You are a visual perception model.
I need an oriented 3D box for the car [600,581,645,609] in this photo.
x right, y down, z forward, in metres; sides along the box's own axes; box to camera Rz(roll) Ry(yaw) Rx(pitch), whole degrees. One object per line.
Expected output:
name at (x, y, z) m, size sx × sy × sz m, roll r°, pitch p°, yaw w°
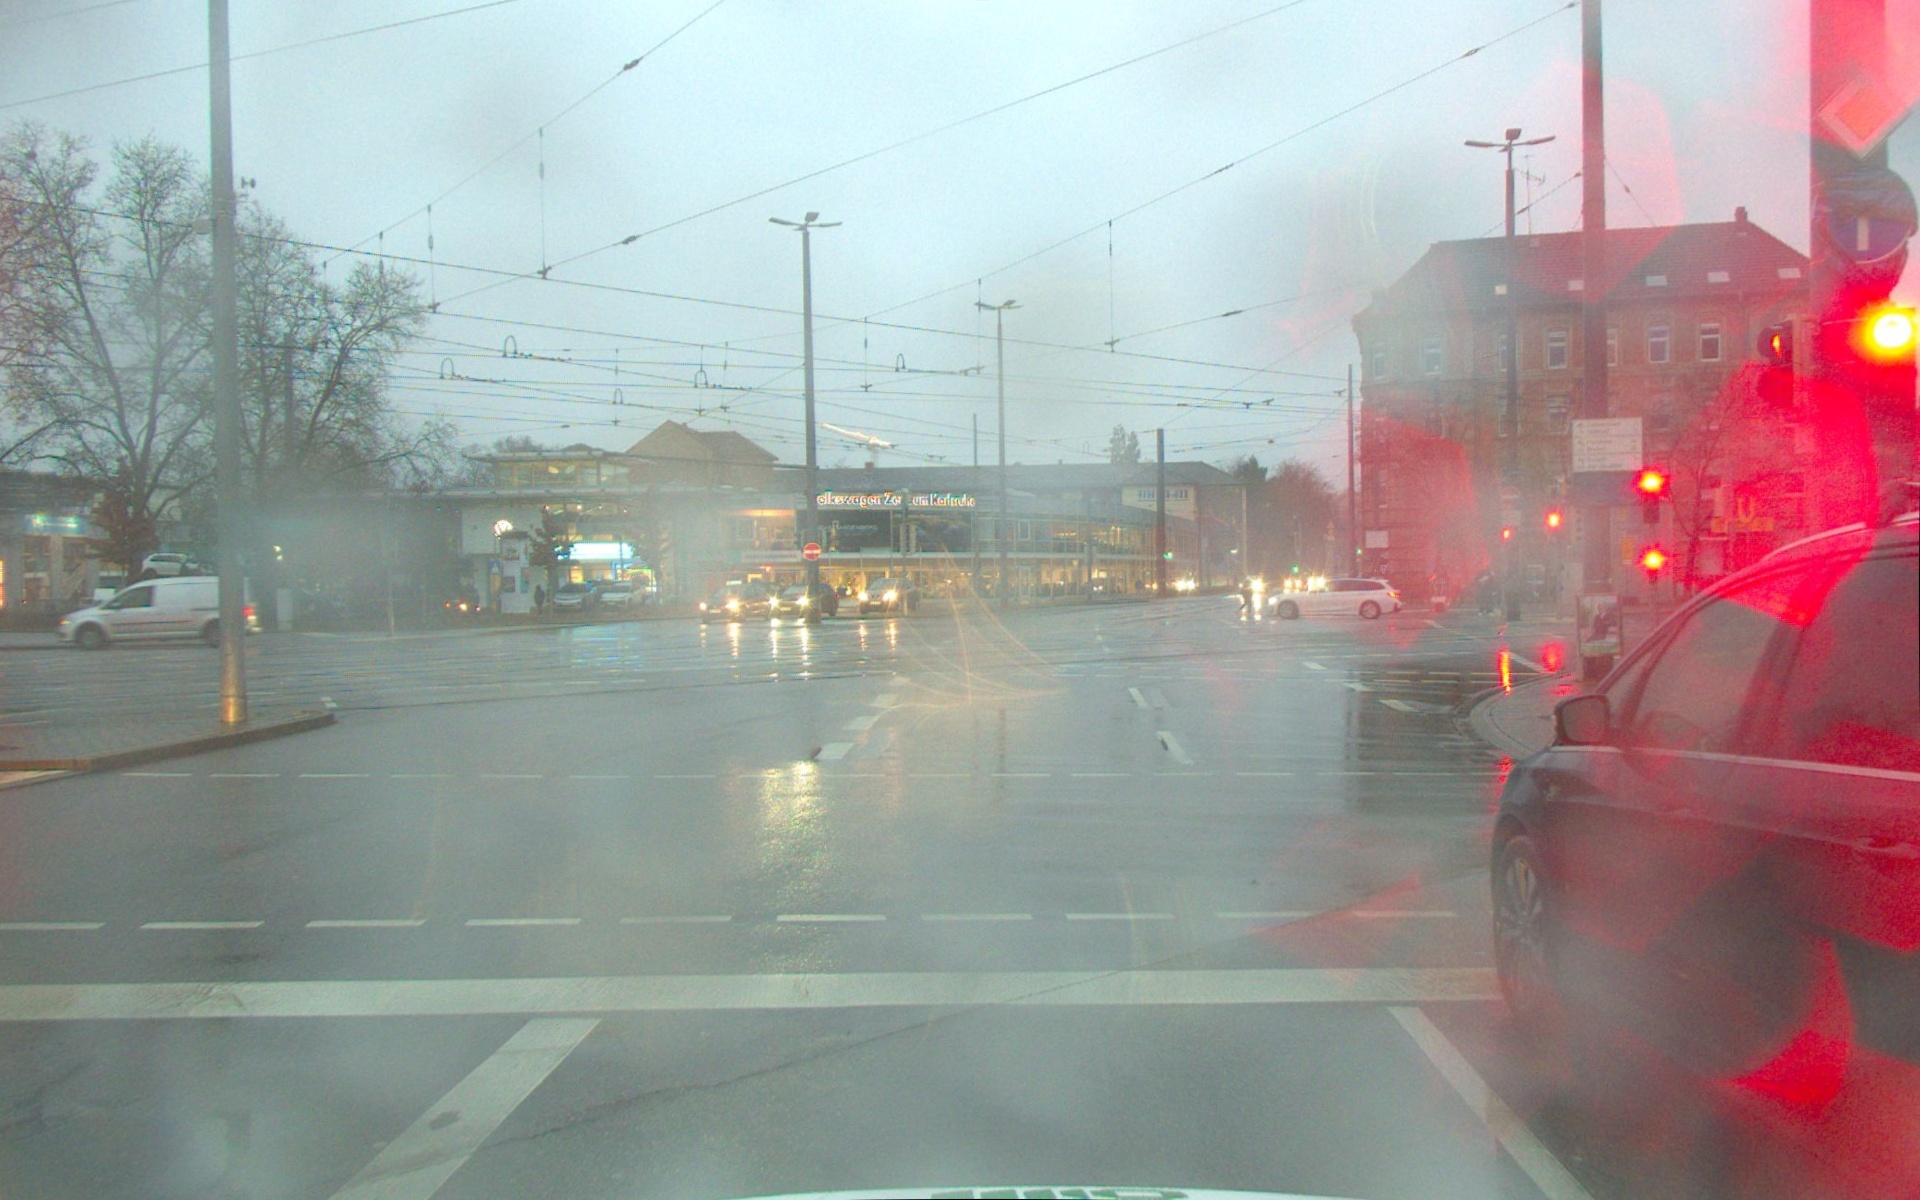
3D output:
car at (-20.906, -0.303, 102.488) m, size 1.824 × 1.629 × 4.001 m, roll -1°, pitch 0°, yaw 1°

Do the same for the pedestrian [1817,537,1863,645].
pedestrian at (16.434, -0.167, 30.885) m, size 0.664 × 1.984 × 0.674 m, roll -1°, pitch 0°, yaw 36°

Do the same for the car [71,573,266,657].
car at (-20.650, 0.434, 43.358) m, size 4.338 × 2.049 × 1.900 m, roll 1°, pitch -3°, yaw -20°

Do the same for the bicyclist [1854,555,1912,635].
bicyclist at (18.872, -0.106, 33.808) m, size 0.765 × 1.603 × 0.691 m, roll -1°, pitch 0°, yaw -21°

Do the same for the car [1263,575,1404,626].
car at (13.078, 0.030, 57.903) m, size 4.696 × 1.686 × 1.742 m, roll -1°, pitch 0°, yaw 15°

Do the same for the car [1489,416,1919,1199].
car at (2.835, 0.532, 4.079) m, size 1.741 × 1.831 × 4.426 m, roll 0°, pitch 1°, yaw 1°

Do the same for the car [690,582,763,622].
car at (-9.152, 0.055, 65.140) m, size 1.774 × 1.472 × 4.003 m, roll -1°, pitch 0°, yaw 9°

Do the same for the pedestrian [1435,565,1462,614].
pedestrian at (20.604, -0.443, 69.745) m, size 0.721 × 2.049 × 0.781 m, roll -1°, pitch 0°, yaw -30°

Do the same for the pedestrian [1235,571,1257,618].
pedestrian at (11.512, -0.235, 66.511) m, size 0.586 × 1.872 × 0.611 m, roll -1°, pitch 0°, yaw -35°

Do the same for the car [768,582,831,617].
car at (-6.920, -0.035, 71.838) m, size 1.774 × 1.472 × 4.003 m, roll -1°, pitch 0°, yaw 9°

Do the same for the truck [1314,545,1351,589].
truck at (24.587, -2.148, 109.029) m, size 1.951 × 2.738 × 5.118 m, roll -1°, pitch 0°, yaw 17°

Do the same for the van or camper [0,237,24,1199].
van or camper at (-3.074, 0.337, 0.965) m, size 2.156 × 2.146 × 4.988 m, roll 0°, pitch 0°, yaw 1°

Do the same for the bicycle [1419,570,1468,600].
bicycle at (23.228, -0.710, 79.527) m, size 0.693 × 1.400 × 2.171 m, roll -1°, pitch 0°, yaw -45°

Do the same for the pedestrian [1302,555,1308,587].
pedestrian at (21.930, -1.837, 105.116) m, size 0.336 × 2.049 × 0.418 m, roll -1°, pitch 0°, yaw 15°

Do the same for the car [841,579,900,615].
car at (-3.897, -0.138, 72.718) m, size 1.774 × 1.472 × 4.003 m, roll -1°, pitch 0°, yaw 9°

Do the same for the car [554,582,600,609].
car at (-23.755, -0.285, 102.685) m, size 1.824 × 1.629 × 4.001 m, roll -1°, pitch 0°, yaw 1°

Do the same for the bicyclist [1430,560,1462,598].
bicyclist at (23.341, -1.012, 79.453) m, size 1.042 × 1.799 × 1.055 m, roll -1°, pitch 0°, yaw -44°

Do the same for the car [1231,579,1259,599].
car at (23.978, -0.939, 139.242) m, size 1.823 × 1.629 × 3.788 m, roll -1°, pitch 0°, yaw 17°
